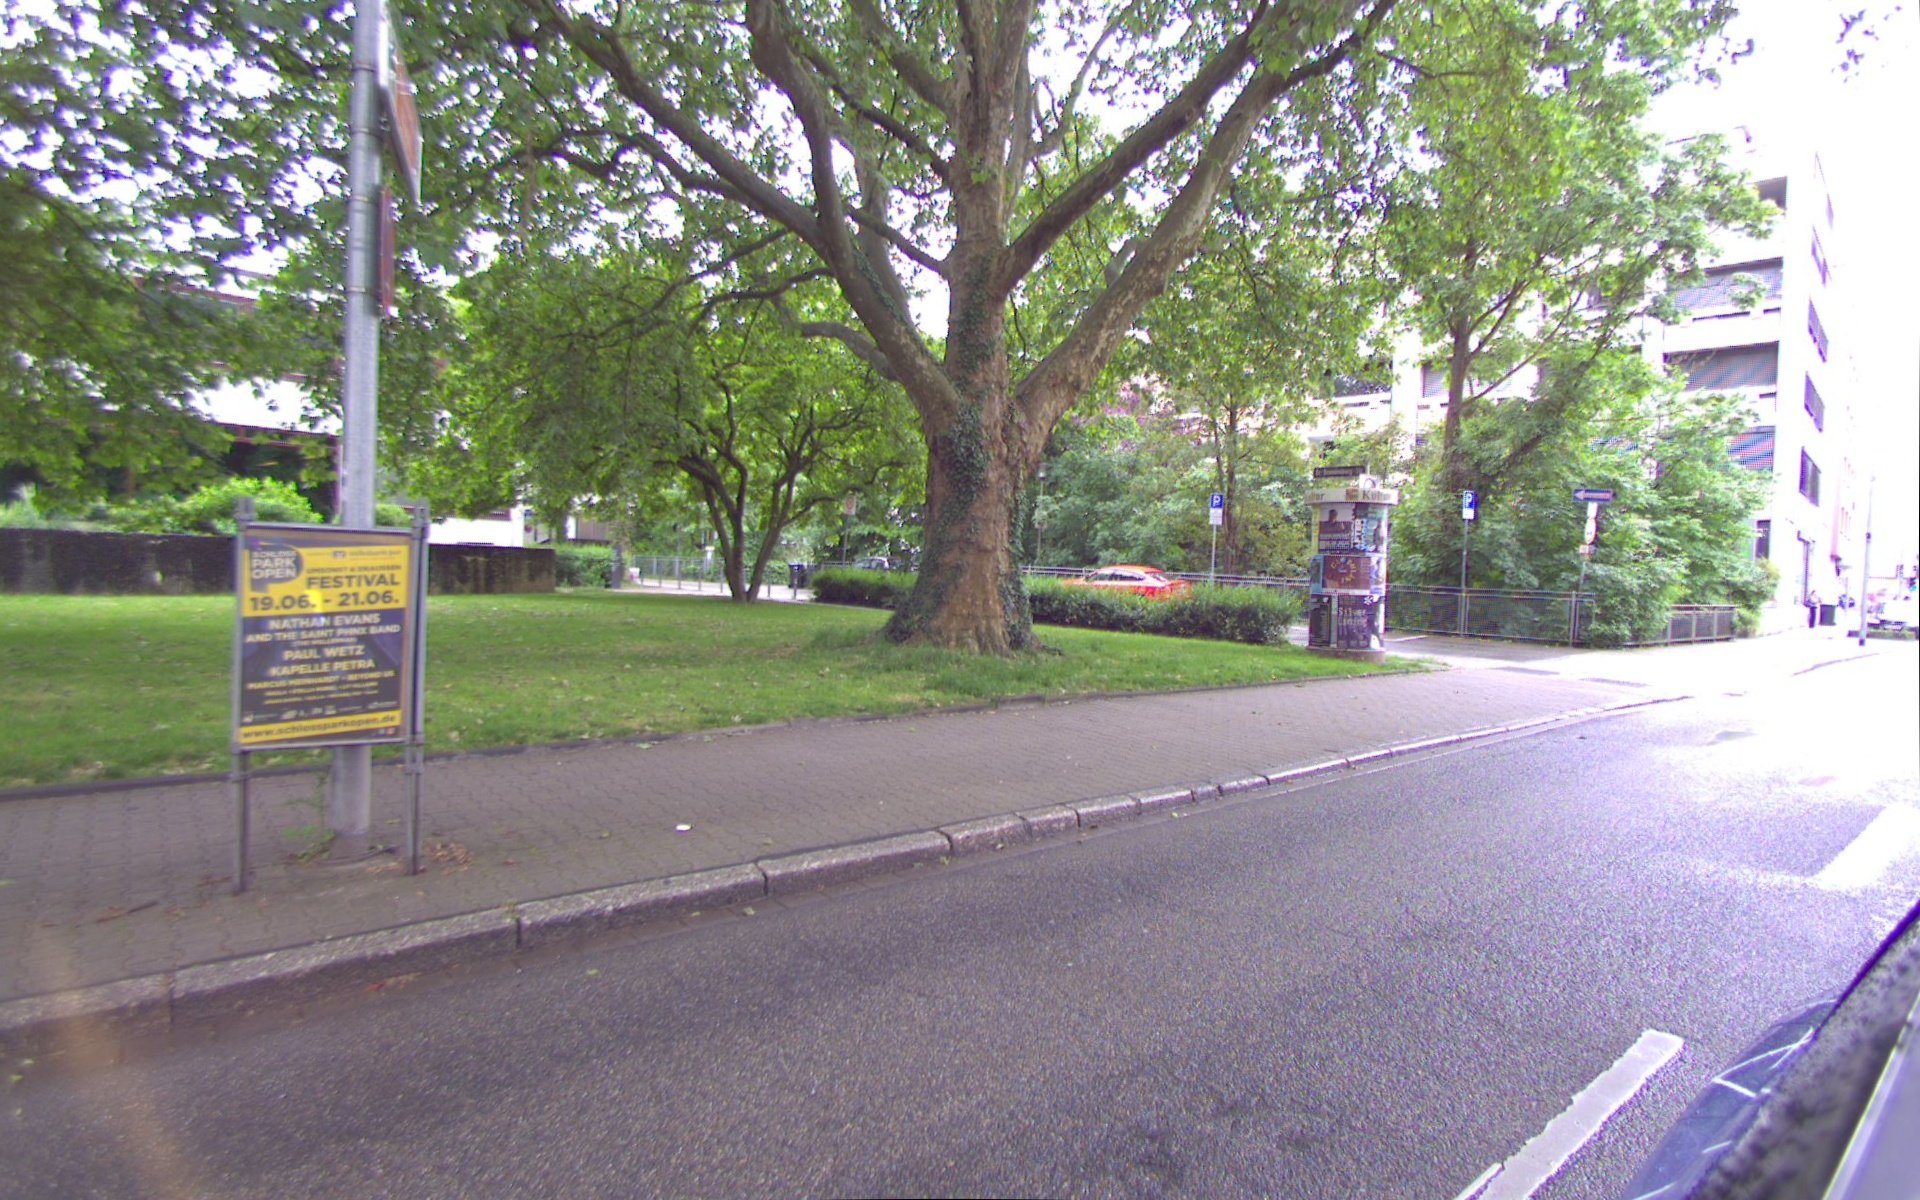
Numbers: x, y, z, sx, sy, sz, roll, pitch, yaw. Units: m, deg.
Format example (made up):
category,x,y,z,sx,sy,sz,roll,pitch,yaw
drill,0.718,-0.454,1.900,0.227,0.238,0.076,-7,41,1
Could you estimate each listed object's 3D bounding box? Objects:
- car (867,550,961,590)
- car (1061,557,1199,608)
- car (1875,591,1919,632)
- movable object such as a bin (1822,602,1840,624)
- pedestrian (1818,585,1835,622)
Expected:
category,x,y,z,sx,sy,sz,roll,pitch,yaw
car,-1.702,-1.120,36.740,3.460,1.294,1.426,5,4,45
car,4.893,-0.539,29.497,1.551,1.294,3.784,-1,4,-44
car,37.418,0.458,39.743,3.617,1.449,1.681,0,5,-41
movable object such as a bin,41.925,0.622,48.716,0.287,1.054,0.556,0,3,-41
pedestrian,36.411,0.151,42.524,0.473,1.549,0.480,0,0,-41
